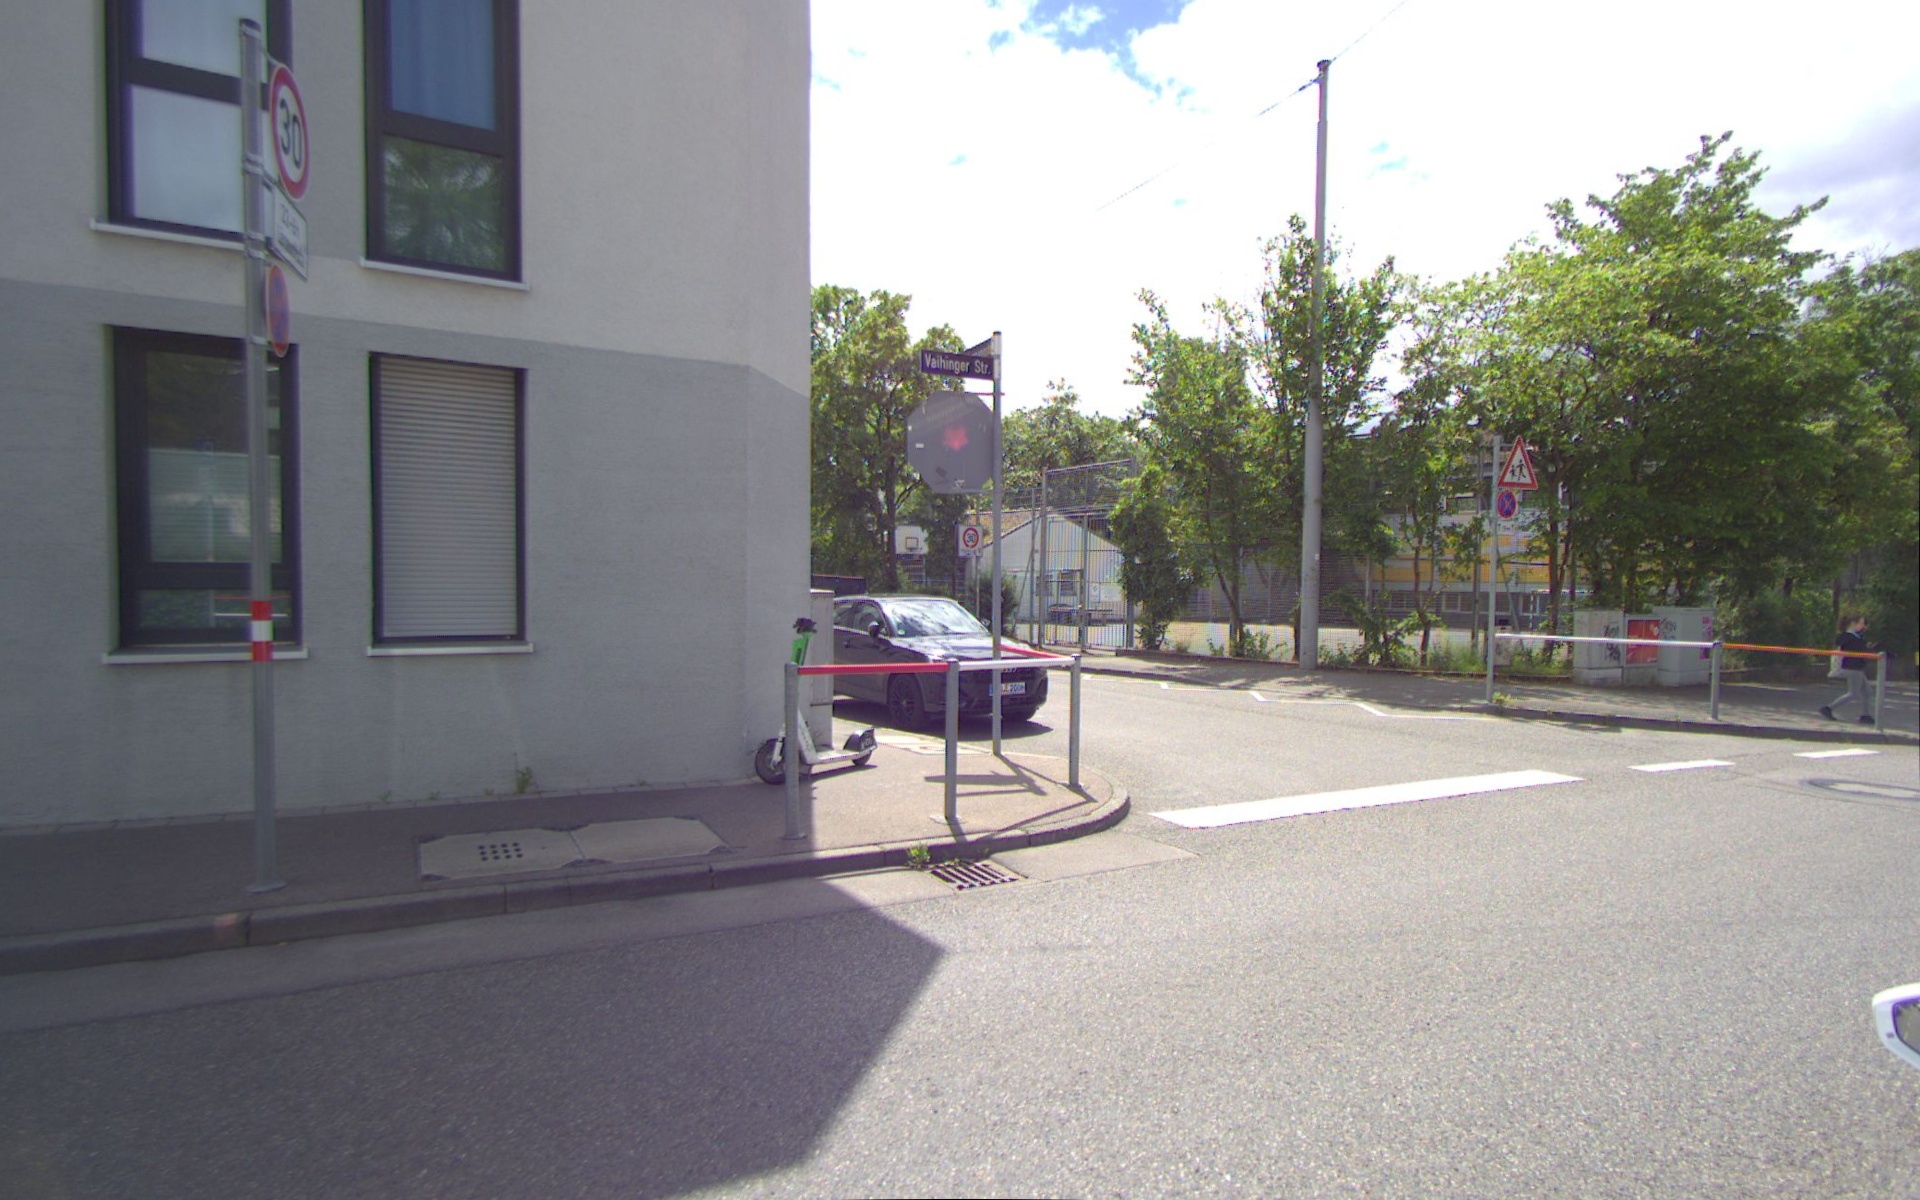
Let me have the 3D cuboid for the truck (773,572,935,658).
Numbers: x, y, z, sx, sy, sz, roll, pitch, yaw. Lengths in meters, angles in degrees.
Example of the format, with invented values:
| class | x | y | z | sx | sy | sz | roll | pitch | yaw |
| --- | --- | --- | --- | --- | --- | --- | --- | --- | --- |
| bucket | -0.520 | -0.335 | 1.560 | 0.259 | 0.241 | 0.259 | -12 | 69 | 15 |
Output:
| class | x | y | z | sx | sy | sz | roll | pitch | yaw |
| --- | --- | --- | --- | --- | --- | --- | --- | --- | --- |
| truck | -2.954 | 0.354 | 26.824 | 2.124 | 2.062 | 5.002 | 3 | 0 | -35 |

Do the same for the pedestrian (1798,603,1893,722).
| class | x | y | z | sx | sy | sz | roll | pitch | yaw |
| --- | --- | --- | --- | --- | --- | --- | --- | --- | --- |
| pedestrian | 12.771 | 0.878 | 14.515 | 0.757 | 1.619 | 0.672 | 3 | 1 | 19 |

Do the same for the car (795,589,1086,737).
| class | x | y | z | sx | sy | sz | roll | pitch | yaw |
| --- | --- | --- | --- | --- | --- | --- | --- | --- | --- |
| car | -0.414 | 0.644 | 12.777 | 1.839 | 1.497 | 3.960 | -1 | 2 | -35 |

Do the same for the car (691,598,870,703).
| class | x | y | z | sx | sy | sz | roll | pitch | yaw |
| --- | --- | --- | --- | --- | --- | --- | --- | --- | --- |
| car | -3.026 | 0.724 | 16.360 | 1.584 | 1.419 | 3.761 | -1 | 2 | -32 |

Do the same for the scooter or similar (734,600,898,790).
| class | x | y | z | sx | sy | sz | roll | pitch | yaw |
| --- | --- | --- | --- | --- | --- | --- | --- | --- | --- |
| scooter or similar | -1.040 | 0.659 | 7.523 | 0.482 | 1.278 | 1.305 | 2 | 0 | 30 |
